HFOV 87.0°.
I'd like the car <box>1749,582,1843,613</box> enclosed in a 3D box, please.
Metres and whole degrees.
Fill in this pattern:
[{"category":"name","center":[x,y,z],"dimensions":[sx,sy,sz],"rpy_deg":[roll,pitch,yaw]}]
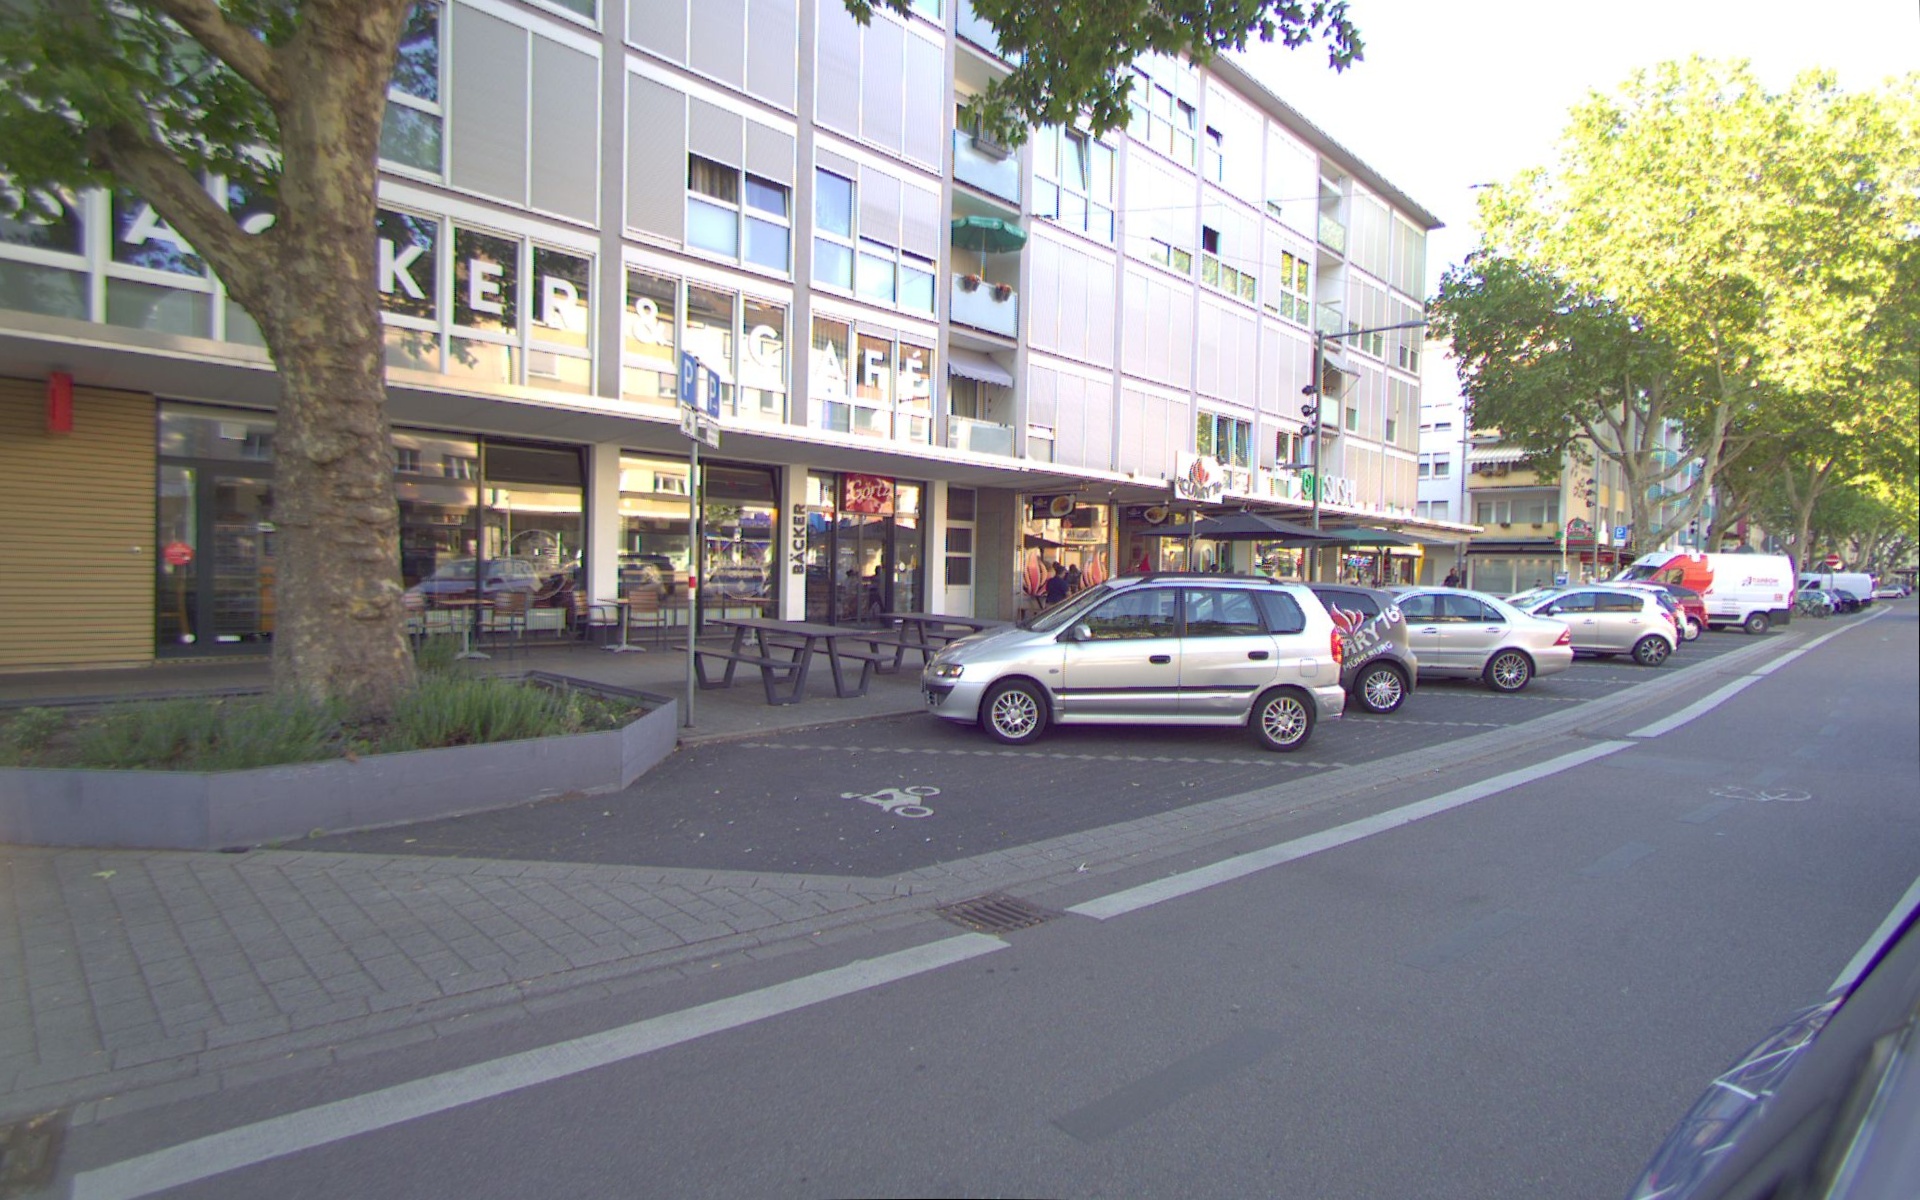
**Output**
[{"category":"car","center":[41.871,-0.156,50.741],"dimensions":[3.271,1.363,1.530],"rpy_deg":[2,3,5]}]

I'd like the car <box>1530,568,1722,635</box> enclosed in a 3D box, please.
[{"category":"car","center":[17.892,0.010,27.345],"dimensions":[3.929,1.582,1.659],"rpy_deg":[2,3,5]}]

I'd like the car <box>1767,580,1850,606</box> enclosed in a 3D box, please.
[{"category":"car","center":[48.448,-0.408,57.856],"dimensions":[3.271,1.363,1.530],"rpy_deg":[2,3,5]}]

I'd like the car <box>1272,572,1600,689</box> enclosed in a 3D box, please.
[{"category":"car","center":[6.821,0.400,14.814],"dimensions":[3.926,1.453,1.660],"rpy_deg":[2,3,2]}]

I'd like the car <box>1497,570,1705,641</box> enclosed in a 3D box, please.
[{"category":"car","center":[15.747,0.106,25.021],"dimensions":[3.929,1.541,1.659],"rpy_deg":[2,3,5]}]

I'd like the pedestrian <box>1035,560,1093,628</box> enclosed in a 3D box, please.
[{"category":"pedestrian","center":[2.196,-0.137,21.429],"dimensions":[0.945,1.379,0.750],"rpy_deg":[0,2,-41]}]

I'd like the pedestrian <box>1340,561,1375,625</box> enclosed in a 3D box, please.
[{"category":"pedestrian","center":[10.317,-0.195,26.288],"dimensions":[0.537,1.610,0.676],"rpy_deg":[5,4,44]}]

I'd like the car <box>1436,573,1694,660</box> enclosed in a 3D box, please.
[{"category":"car","center":[11.741,0.281,19.863],"dimensions":[3.929,1.453,1.659],"rpy_deg":[2,3,5]}]

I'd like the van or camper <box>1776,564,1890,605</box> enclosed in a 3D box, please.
[{"category":"van or camper","center":[56.114,-1.044,65.151],"dimensions":[5.363,2.499,1.999],"rpy_deg":[1,2,3]}]

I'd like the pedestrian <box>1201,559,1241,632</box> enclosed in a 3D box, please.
[{"category":"pedestrian","center":[5.966,-0.115,23.159],"dimensions":[0.537,1.610,0.676],"rpy_deg":[5,4,44]}]

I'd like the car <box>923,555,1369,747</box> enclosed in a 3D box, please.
[{"category":"car","center":[1.633,0.429,9.887],"dimensions":[3.921,1.626,1.811],"rpy_deg":[1,2,-3]}]

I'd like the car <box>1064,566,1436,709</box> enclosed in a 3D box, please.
[{"category":"car","center":[3.388,0.405,12.345],"dimensions":[3.921,1.525,1.811],"rpy_deg":[1,2,-3]}]

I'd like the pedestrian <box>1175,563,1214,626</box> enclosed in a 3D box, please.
[{"category":"pedestrian","center":[5.473,-0.138,23.602],"dimensions":[0.537,1.417,0.676],"rpy_deg":[5,4,44]}]

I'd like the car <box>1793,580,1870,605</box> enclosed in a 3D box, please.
[{"category":"car","center":[53.821,-0.482,62.539],"dimensions":[3.271,1.363,1.530],"rpy_deg":[2,3,5]}]

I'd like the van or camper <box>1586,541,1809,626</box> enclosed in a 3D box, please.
[{"category":"van or camper","center":[23.322,-0.550,32.197],"dimensions":[5.366,2.499,1.998],"rpy_deg":[1,2,5]}]

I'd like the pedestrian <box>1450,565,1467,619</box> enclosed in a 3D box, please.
[{"category":"pedestrian","center":[19.005,-0.296,38.597],"dimensions":[0.547,2.039,0.571],"rpy_deg":[0,0,31]}]
